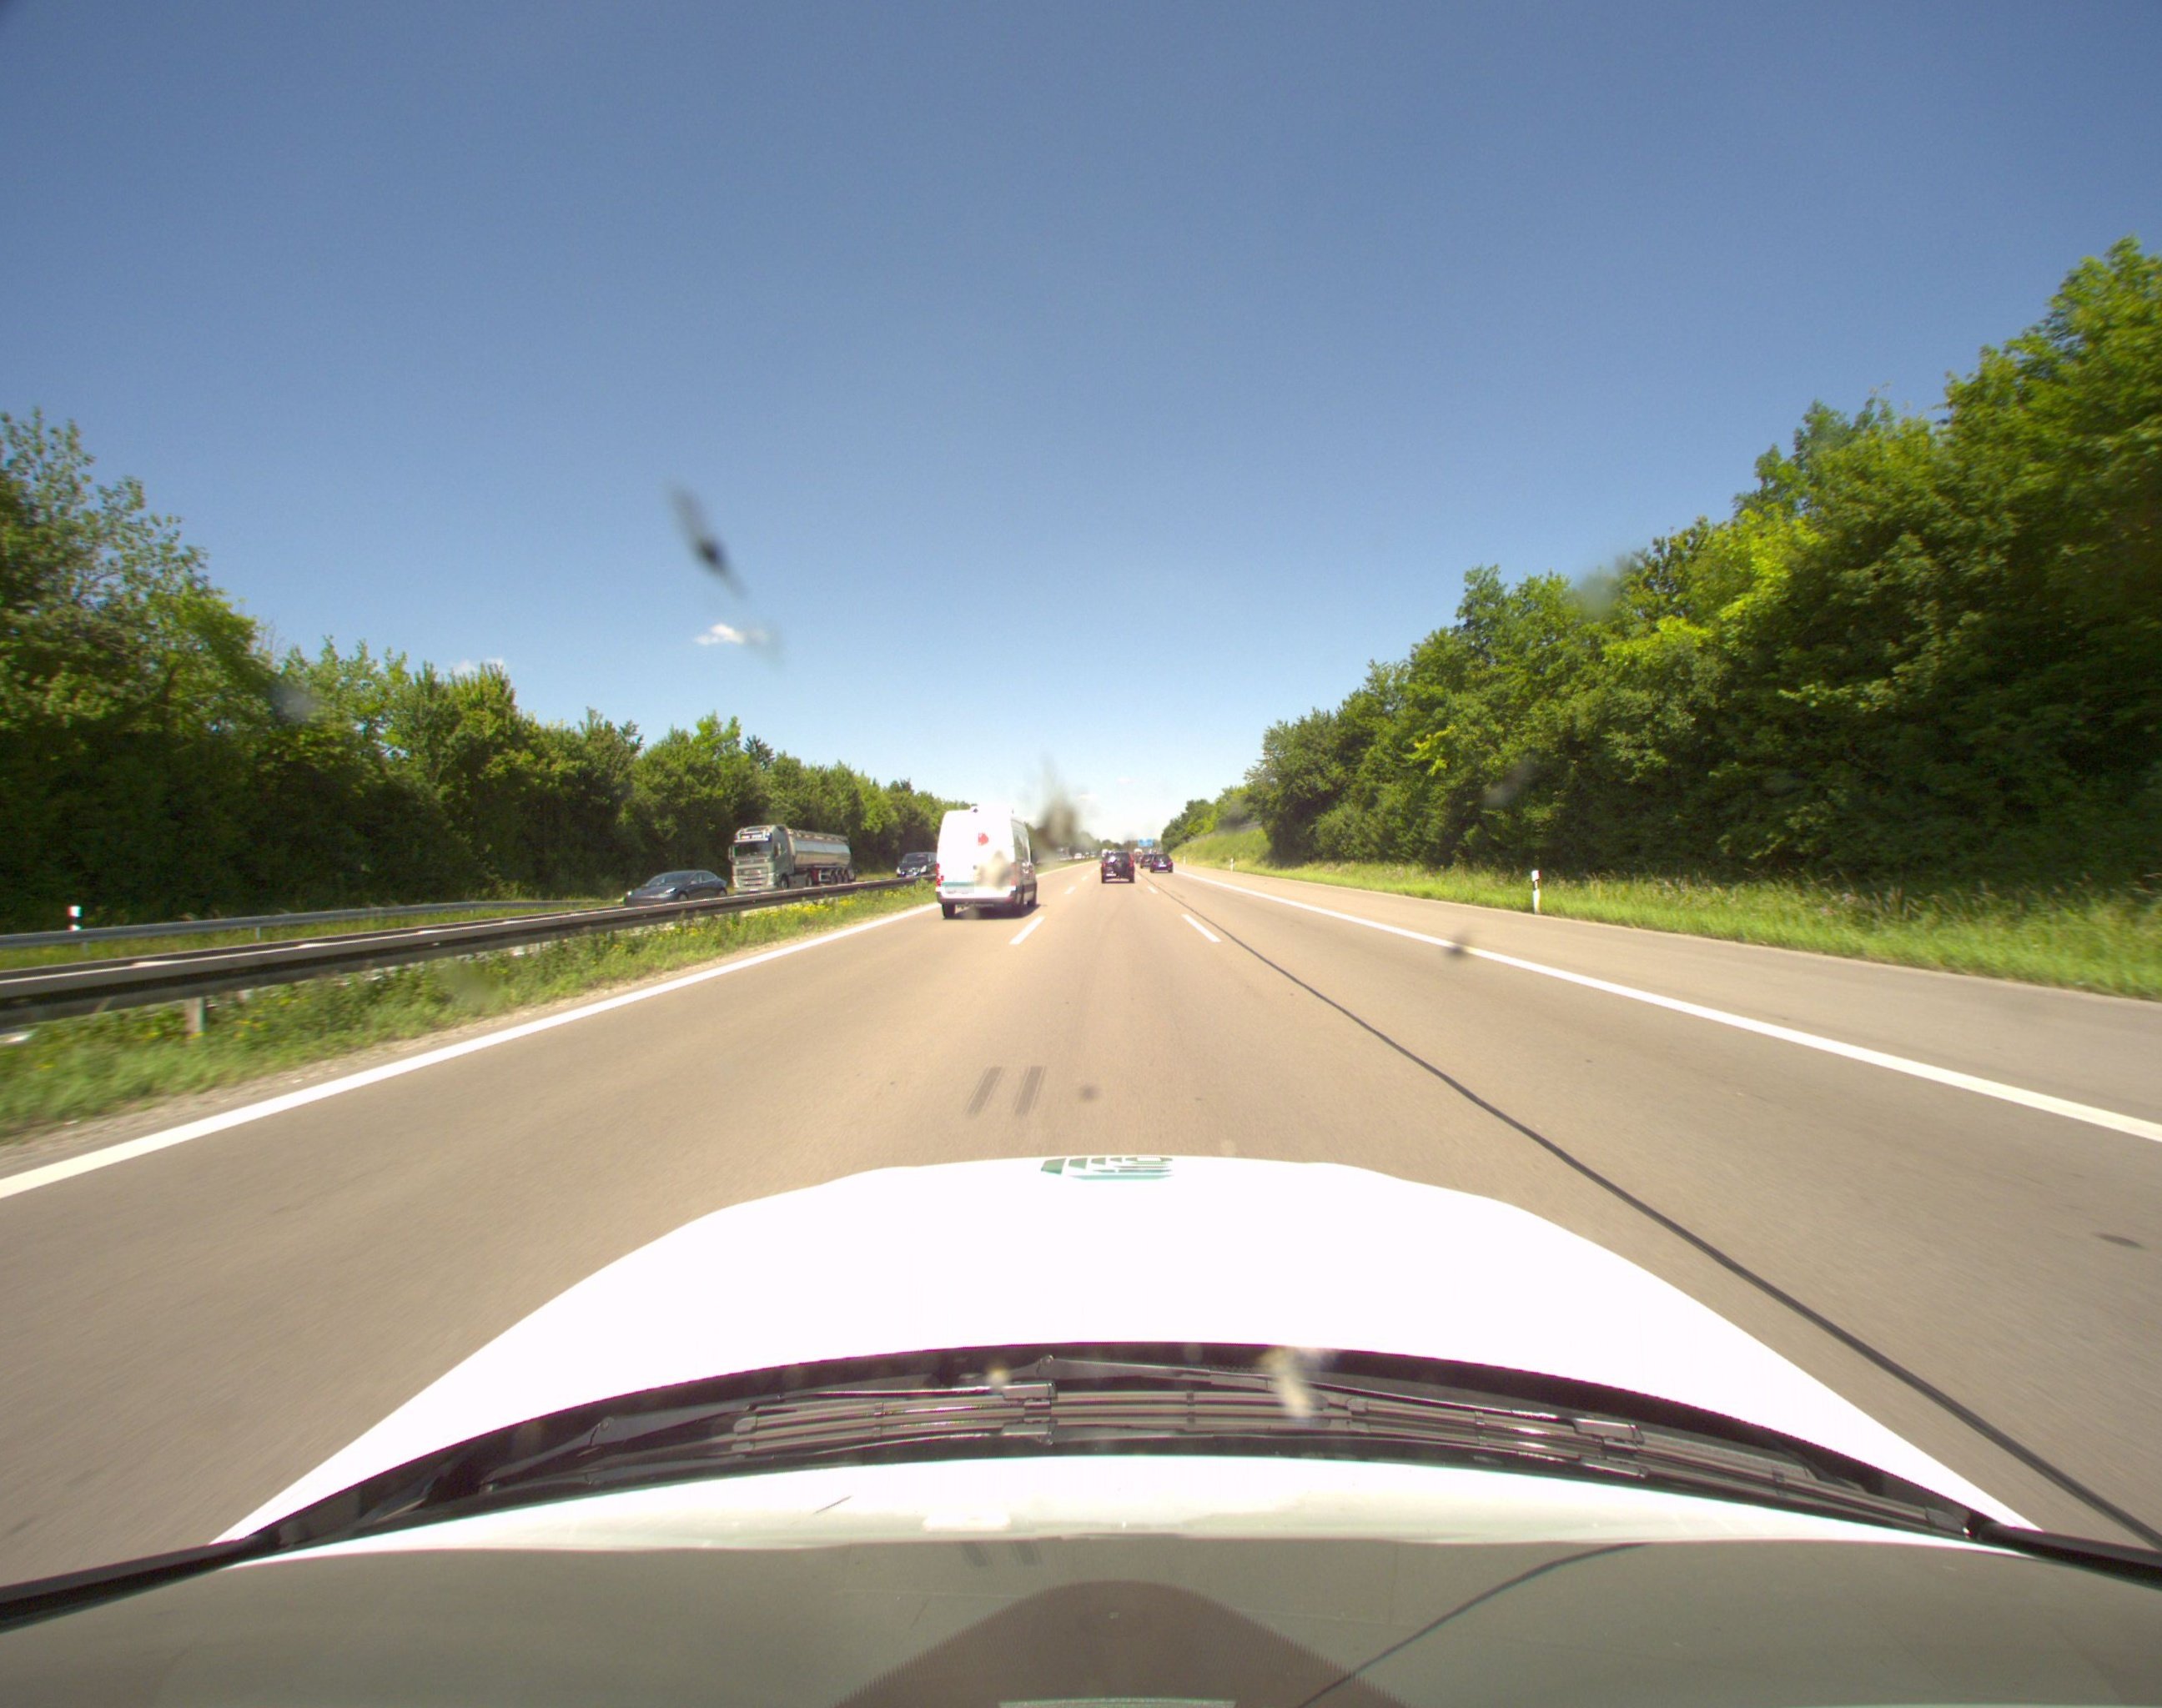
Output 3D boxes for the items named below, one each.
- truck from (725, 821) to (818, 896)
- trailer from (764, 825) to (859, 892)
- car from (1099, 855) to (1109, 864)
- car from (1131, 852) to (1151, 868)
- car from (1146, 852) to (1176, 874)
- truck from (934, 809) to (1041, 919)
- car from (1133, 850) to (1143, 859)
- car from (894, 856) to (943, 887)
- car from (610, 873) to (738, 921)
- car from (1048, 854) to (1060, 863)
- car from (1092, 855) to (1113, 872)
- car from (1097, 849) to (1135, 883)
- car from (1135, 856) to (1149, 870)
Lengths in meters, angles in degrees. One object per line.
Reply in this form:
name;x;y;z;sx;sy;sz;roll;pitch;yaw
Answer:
truck;-17.776;0.272;47.252;2.722;3.882;6.322;-4;0;0
trailer;-17.679;0.255;54.204;2.756;3.882;9.458;-4;0;1
car;5.722;1.305;202.980;1.984;2.013;4.957;-2;0;5
car;6.285;0.636;85.904;1.836;1.611;4.000;-2;-1;1
car;6.416;0.757;65.598;1.987;1.684;4.000;-2;-1;1
truck;-2.339;0.229;22.289;1.986;2.542;6.694;0;0;2
car;13.486;0.094;193.061;1.987;2.013;4.766;-2;0;0
car;-10.202;1.068;51.601;1.899;1.788;5.061;-2;0;2
car;-14.233;1.446;28.838;1.899;1.416;4.893;-2;0;2
car;-5.129;0.820;156.888;1.986;1.665;4.476;-2;0;2
car;2.388;1.013;89.086;1.984;1.706;4.341;-2;0;4
car;1.837;0.653;43.780;1.900;1.665;4.000;-2;-1;1
car;9.481;1.407;127.340;1.986;2.014;4.002;-2;-1;2
